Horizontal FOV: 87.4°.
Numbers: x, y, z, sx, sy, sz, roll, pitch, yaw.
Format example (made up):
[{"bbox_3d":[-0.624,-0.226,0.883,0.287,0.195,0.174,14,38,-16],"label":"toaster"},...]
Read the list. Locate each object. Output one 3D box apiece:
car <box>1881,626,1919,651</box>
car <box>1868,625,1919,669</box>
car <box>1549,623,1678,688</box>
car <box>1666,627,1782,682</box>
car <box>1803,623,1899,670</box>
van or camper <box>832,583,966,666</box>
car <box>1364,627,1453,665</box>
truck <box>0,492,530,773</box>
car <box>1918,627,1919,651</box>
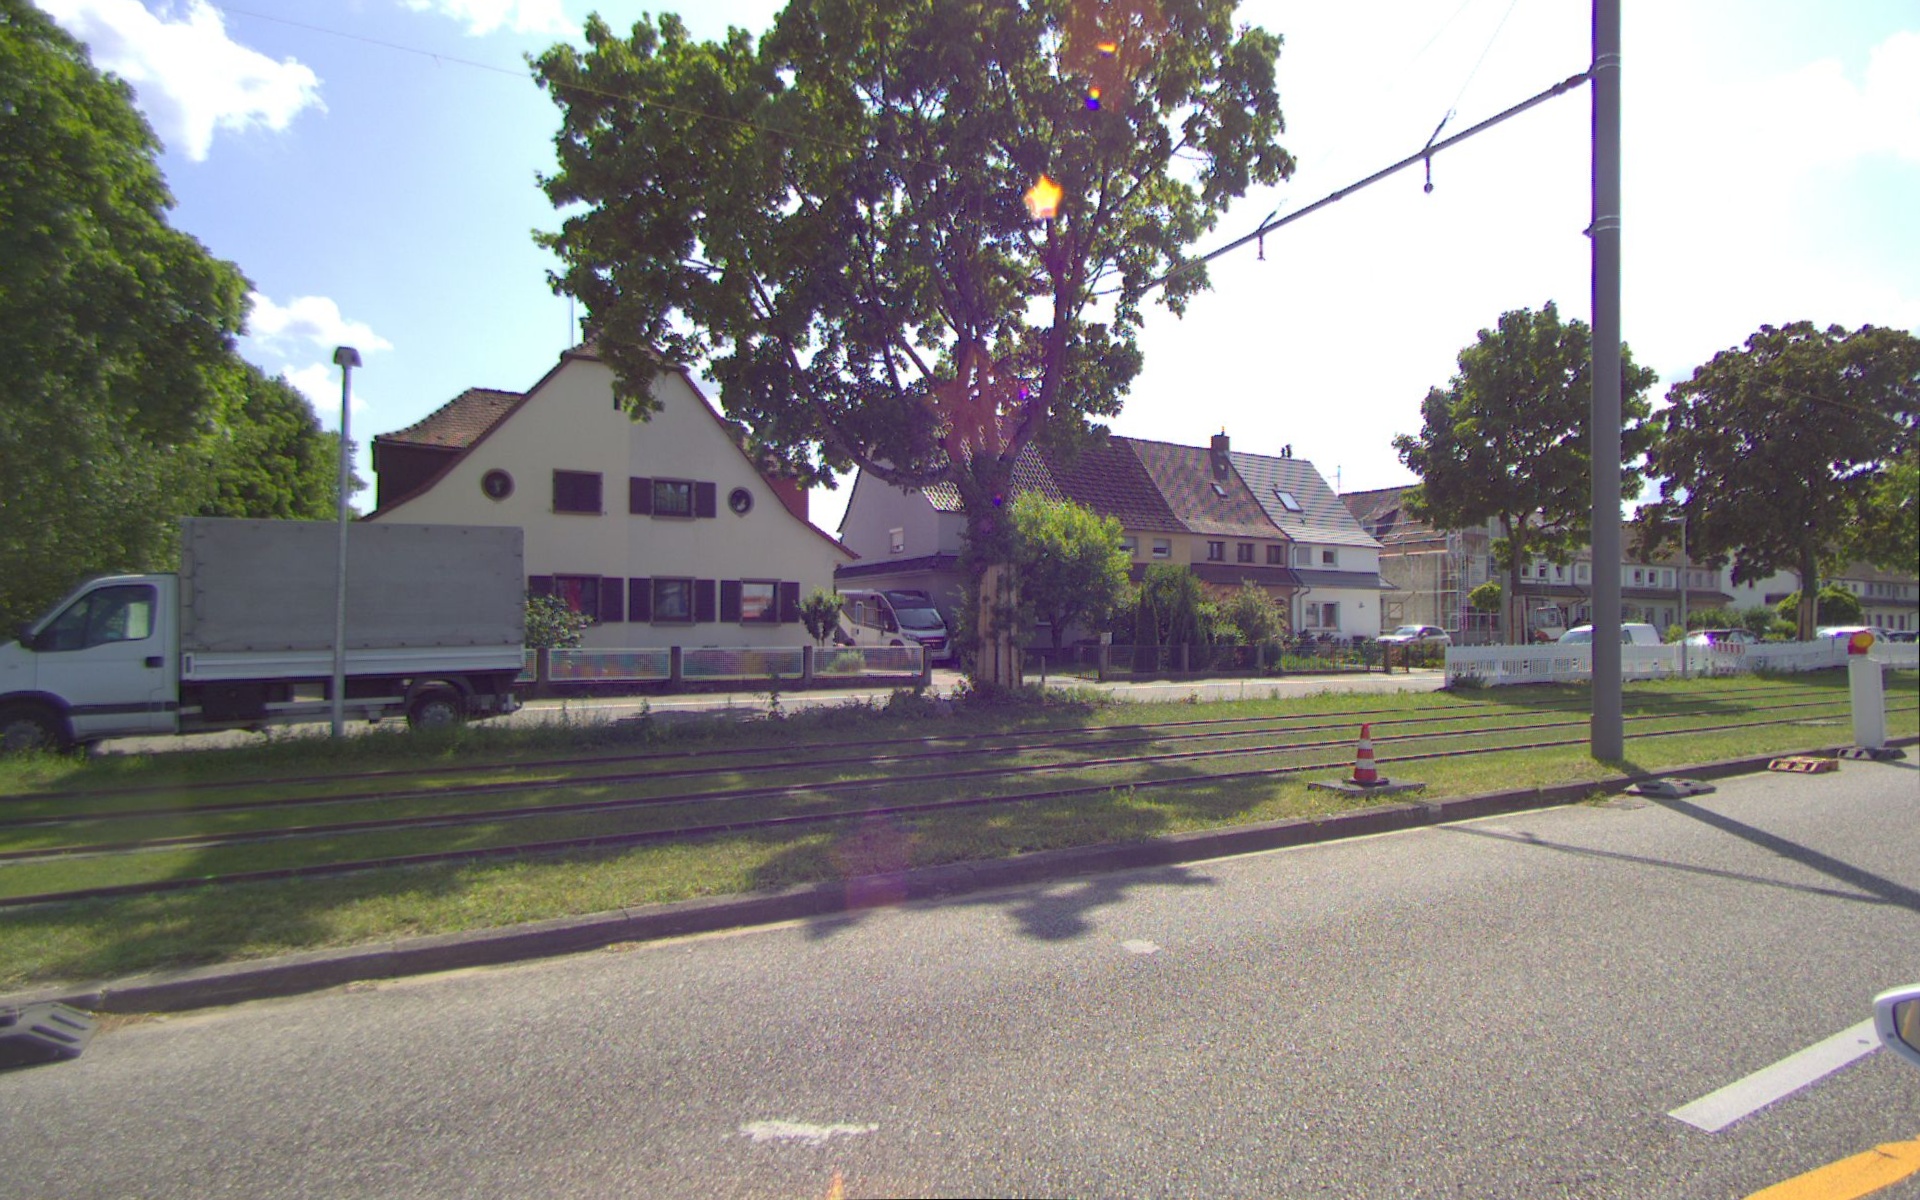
[{"bbox_3d":[66.751,2.686,70.732,4.013,1.762,1.691,1,-2,-30],"label":"car"},{"bbox_3d":[40.360,1.962,42.585,3.814,1.762,1.691,1,-2,-30],"label":"car"},{"bbox_3d":[19.500,1.606,29.960,3.814,1.841,1.691,1,-2,-30],"label":"car"},{"bbox_3d":[25.745,1.801,33.827,4.006,1.762,1.691,1,-2,-30],"label":"car"},{"bbox_3d":[34.969,1.804,39.404,3.814,1.762,1.691,1,-2,-30],"label":"car"},{"bbox_3d":[-2.352,0.909,36.651,2.224,2.745,5.963,1,-2,-33],"label":"van or camper"},{"bbox_3d":[19.888,1.996,44.480,3.814,1.614,1.691,1,-2,-30],"label":"car"},{"bbox_3d":[-8.799,0.414,12.935,5.805,3.027,1.994,1,-2,-30],"label":"truck"},{"bbox_3d":[72.134,2.851,73.668,4.013,1.762,1.691,1,-2,-30],"label":"car"}]
